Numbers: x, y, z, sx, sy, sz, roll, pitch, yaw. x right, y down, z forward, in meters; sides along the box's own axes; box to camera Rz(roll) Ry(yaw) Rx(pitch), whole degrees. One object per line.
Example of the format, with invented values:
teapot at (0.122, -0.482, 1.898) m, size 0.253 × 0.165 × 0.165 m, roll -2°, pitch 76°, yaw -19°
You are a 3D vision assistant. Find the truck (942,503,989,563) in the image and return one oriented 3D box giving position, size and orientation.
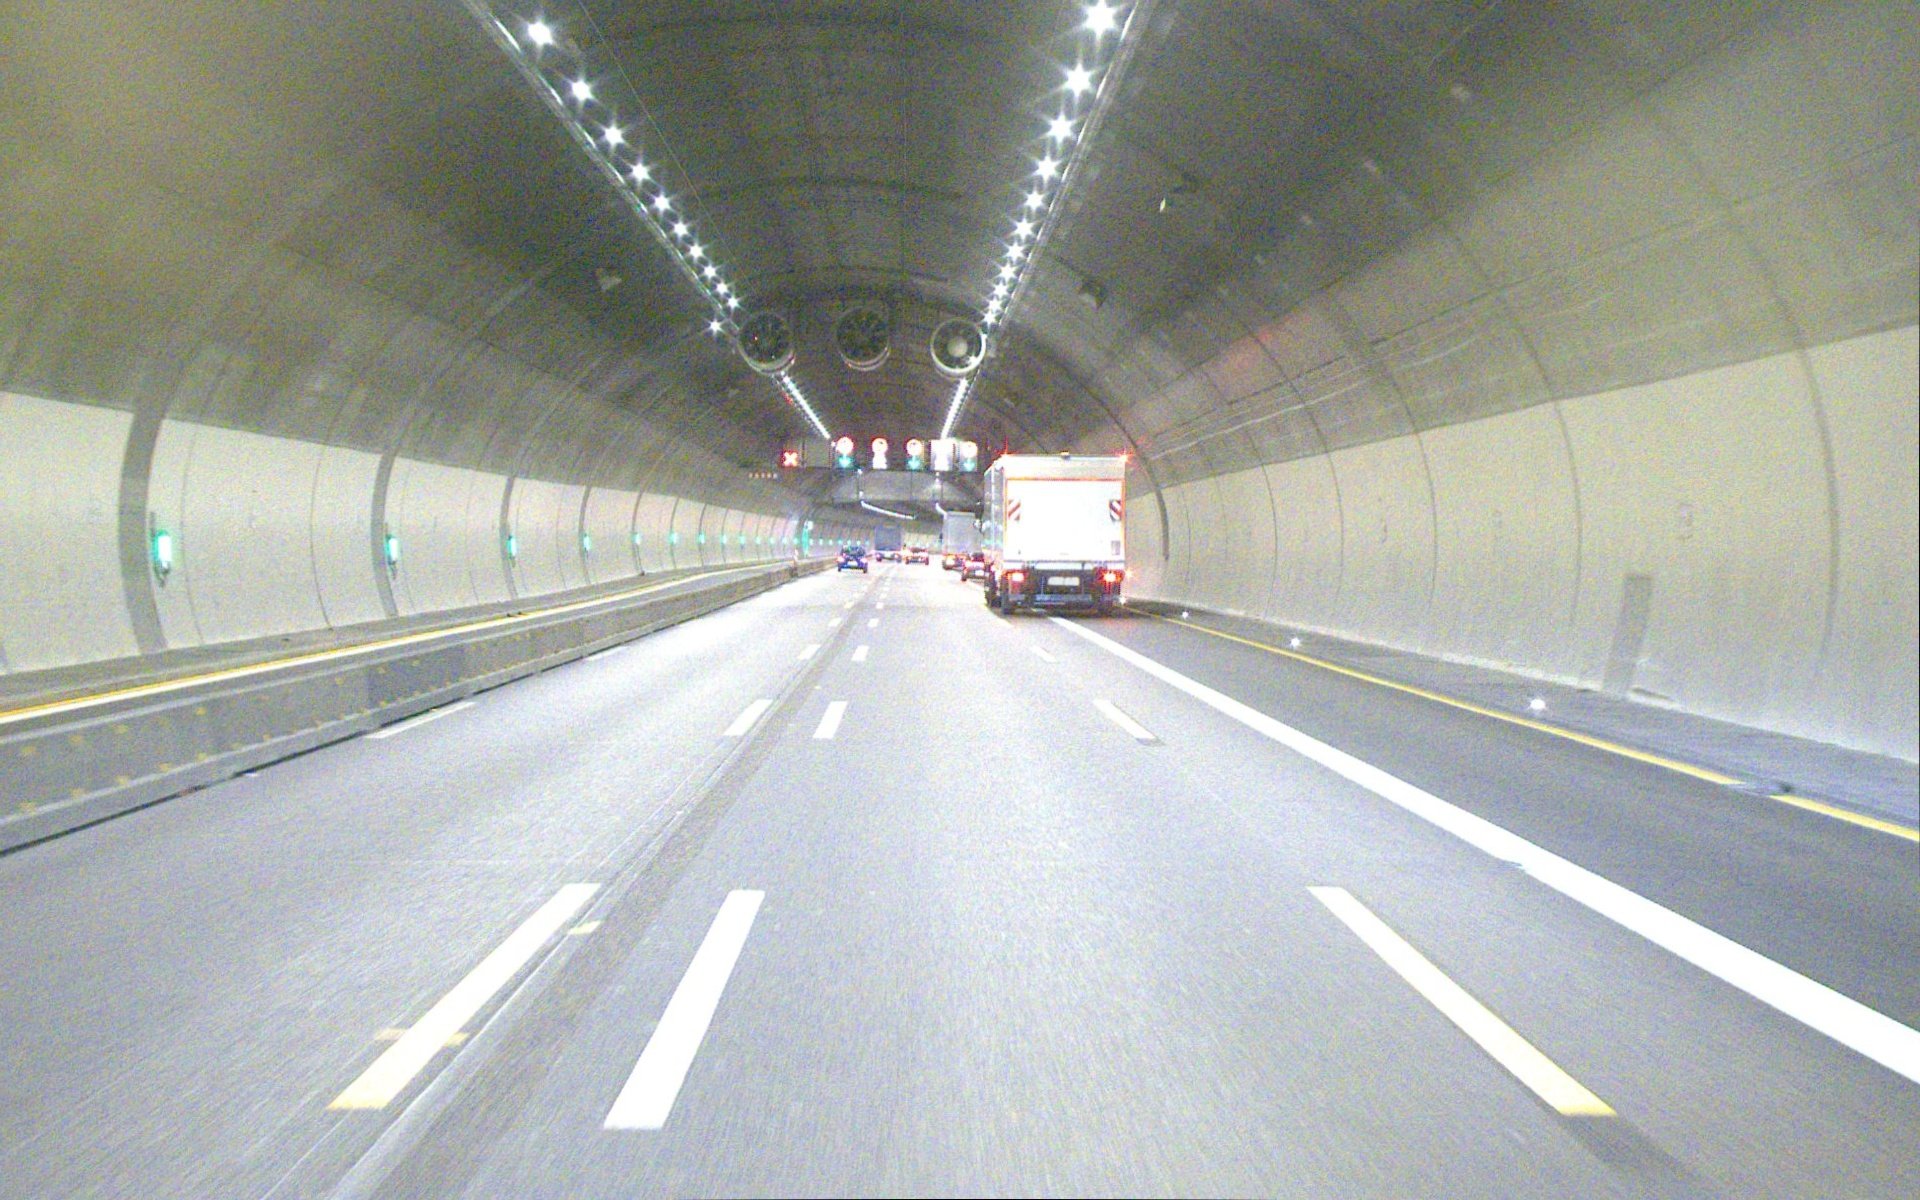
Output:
truck at (0.415, -4.601, 238.629) m, size 3.066 × 3.904 × 10.367 m, roll 2°, pitch 0°, yaw 1°

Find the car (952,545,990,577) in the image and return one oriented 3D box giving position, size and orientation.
car at (0.540, -1.876, 164.843) m, size 1.739 × 1.456 × 3.960 m, roll 1°, pitch 2°, yaw 1°

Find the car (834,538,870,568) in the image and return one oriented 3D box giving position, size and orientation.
car at (-5.673, -2.482, 181.599) m, size 1.758 × 1.456 × 4.119 m, roll 1°, pitch 2°, yaw 0°

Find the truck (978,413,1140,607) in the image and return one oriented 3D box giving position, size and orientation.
truck at (2.065, -1.874, 75.960) m, size 3.092 × 3.904 × 10.368 m, roll 2°, pitch 0°, yaw 0°
